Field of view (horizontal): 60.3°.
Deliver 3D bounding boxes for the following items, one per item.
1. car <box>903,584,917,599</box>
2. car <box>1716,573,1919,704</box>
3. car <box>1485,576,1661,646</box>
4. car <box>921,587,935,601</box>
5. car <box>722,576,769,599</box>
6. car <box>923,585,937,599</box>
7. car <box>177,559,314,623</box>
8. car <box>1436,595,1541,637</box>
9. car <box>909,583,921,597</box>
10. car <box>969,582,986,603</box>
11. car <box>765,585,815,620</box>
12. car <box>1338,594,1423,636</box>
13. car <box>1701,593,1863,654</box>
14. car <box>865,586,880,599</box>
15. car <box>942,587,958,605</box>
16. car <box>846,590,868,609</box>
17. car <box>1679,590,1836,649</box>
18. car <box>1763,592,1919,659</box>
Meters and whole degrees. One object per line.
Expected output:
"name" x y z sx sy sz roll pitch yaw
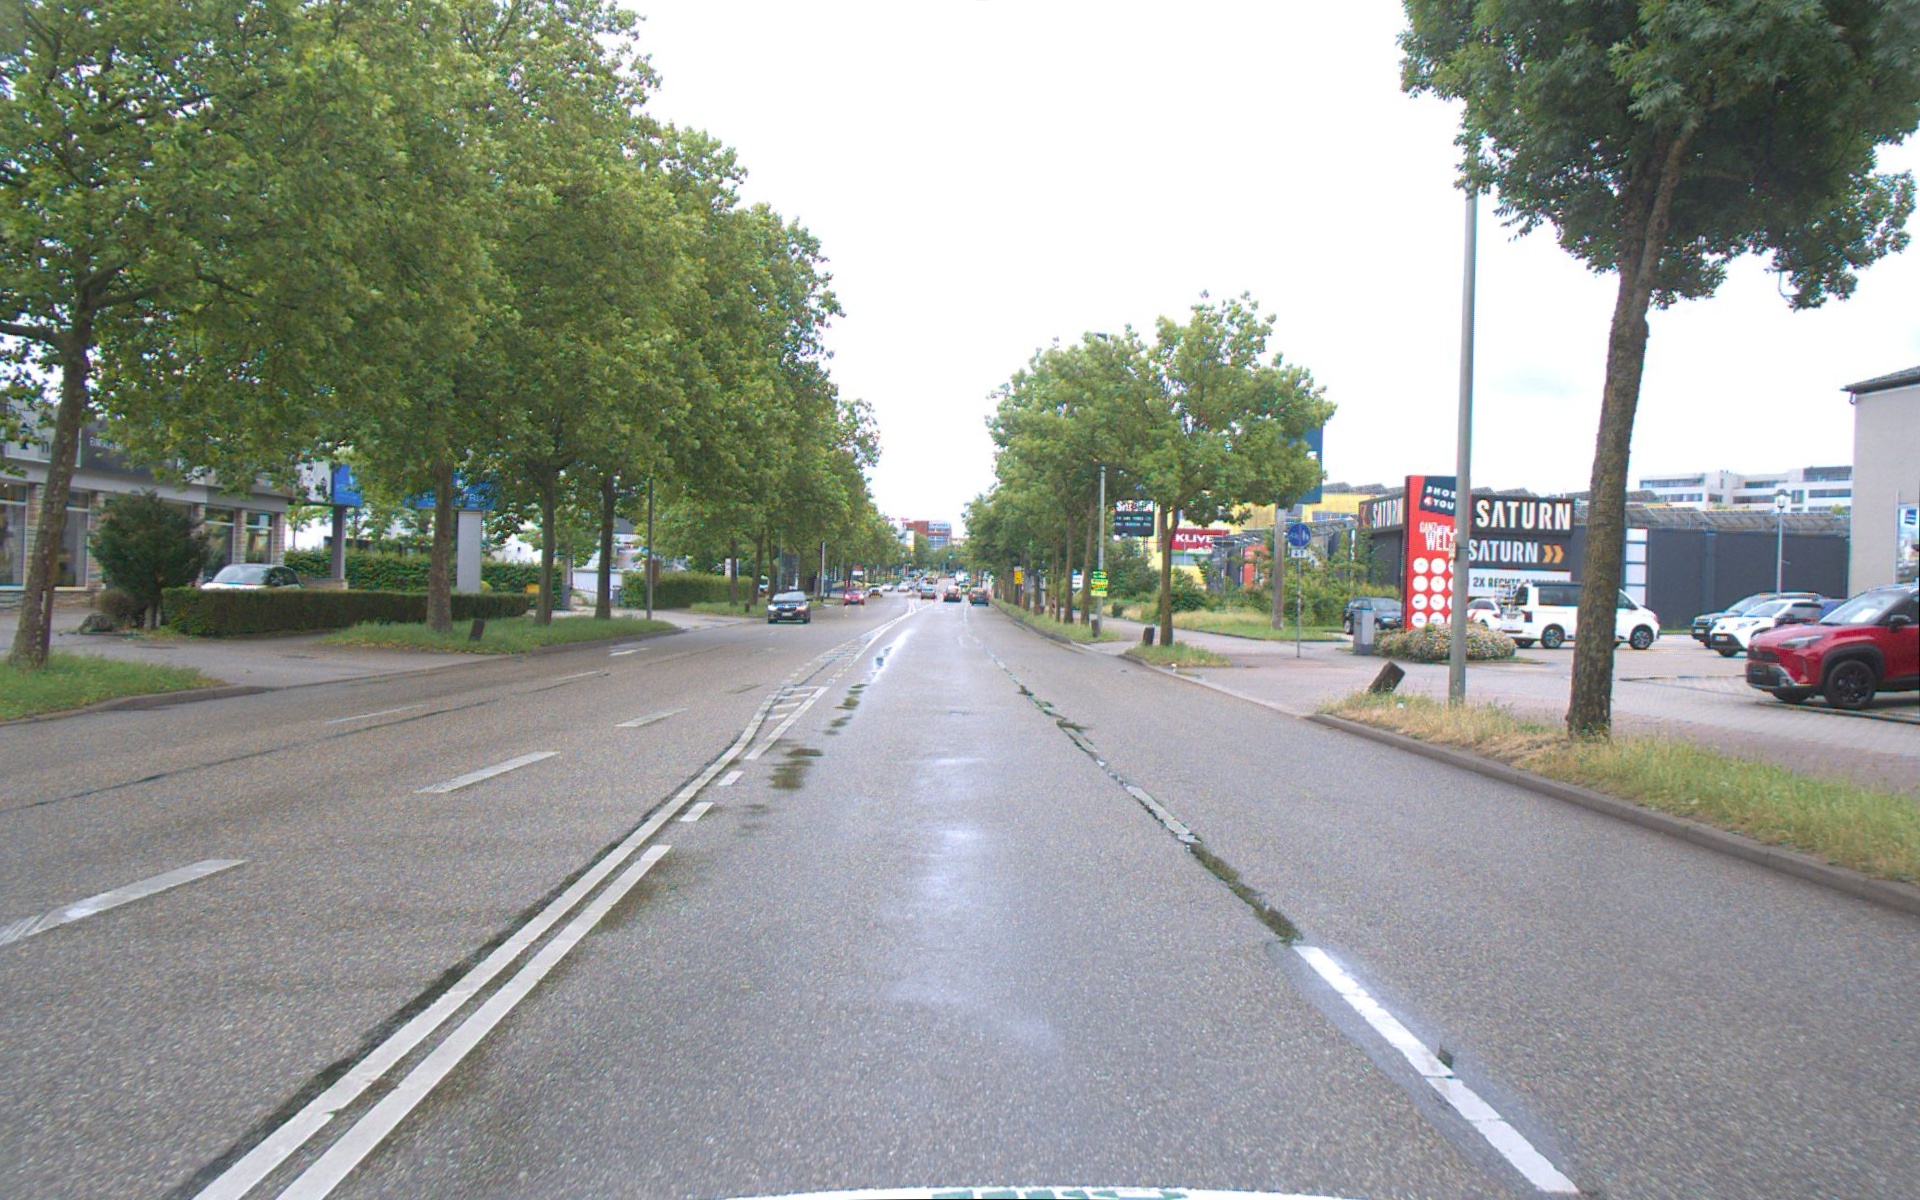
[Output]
"car" -6.910 -1.210 228.974 1.953 2.049 3.999 1 0 -1
"car" 12.505 0.475 22.321 3.762 1.632 1.795 -2 0 0
"car" 18.766 0.343 50.720 4.733 2.049 1.986 1 0 -10
"car" -4.166 -0.764 215.791 1.709 1.730 4.001 1 0 1
"car" -18.845 -1.077 145.352 3.905 1.958 1.826 1 0 0
"car" -4.140 -1.073 230.415 1.852 1.909 4.123 1 0 0
"car" -17.859 -0.220 41.519 1.786 1.512 3.939 1 0 -1
"car" 20.616 0.606 64.710 1.846 1.494 4.942 1 1 -9
"car" -7.025 -1.558 257.601 1.790 2.049 3.998 1 0 -2
"car" 1.810 -0.782 171.502 1.709 2.049 4.001 1 0 1
"car" -7.353 0.099 71.831 1.767 1.488 3.846 0 0 0
"car" 15.845 0.556 62.550 1.549 1.453 4.257 1 1 -9
"car" 21.871 0.610 44.064 3.571 1.541 1.673 1 0 -9
"car" -11.862 -1.045 224.954 1.669 1.767 4.001 1 0 2
"car" -1.136 -0.490 193.013 1.709 2.049 4.001 0 0 1
"car" -8.819 -0.047 141.913 1.690 1.544 3.821 1 0 0
"car" 24.786 0.597 51.477 4.165 1.760 1.739 1 0 -9
"car" 21.540 0.604 39.536 3.911 1.541 1.756 1 0 -8
